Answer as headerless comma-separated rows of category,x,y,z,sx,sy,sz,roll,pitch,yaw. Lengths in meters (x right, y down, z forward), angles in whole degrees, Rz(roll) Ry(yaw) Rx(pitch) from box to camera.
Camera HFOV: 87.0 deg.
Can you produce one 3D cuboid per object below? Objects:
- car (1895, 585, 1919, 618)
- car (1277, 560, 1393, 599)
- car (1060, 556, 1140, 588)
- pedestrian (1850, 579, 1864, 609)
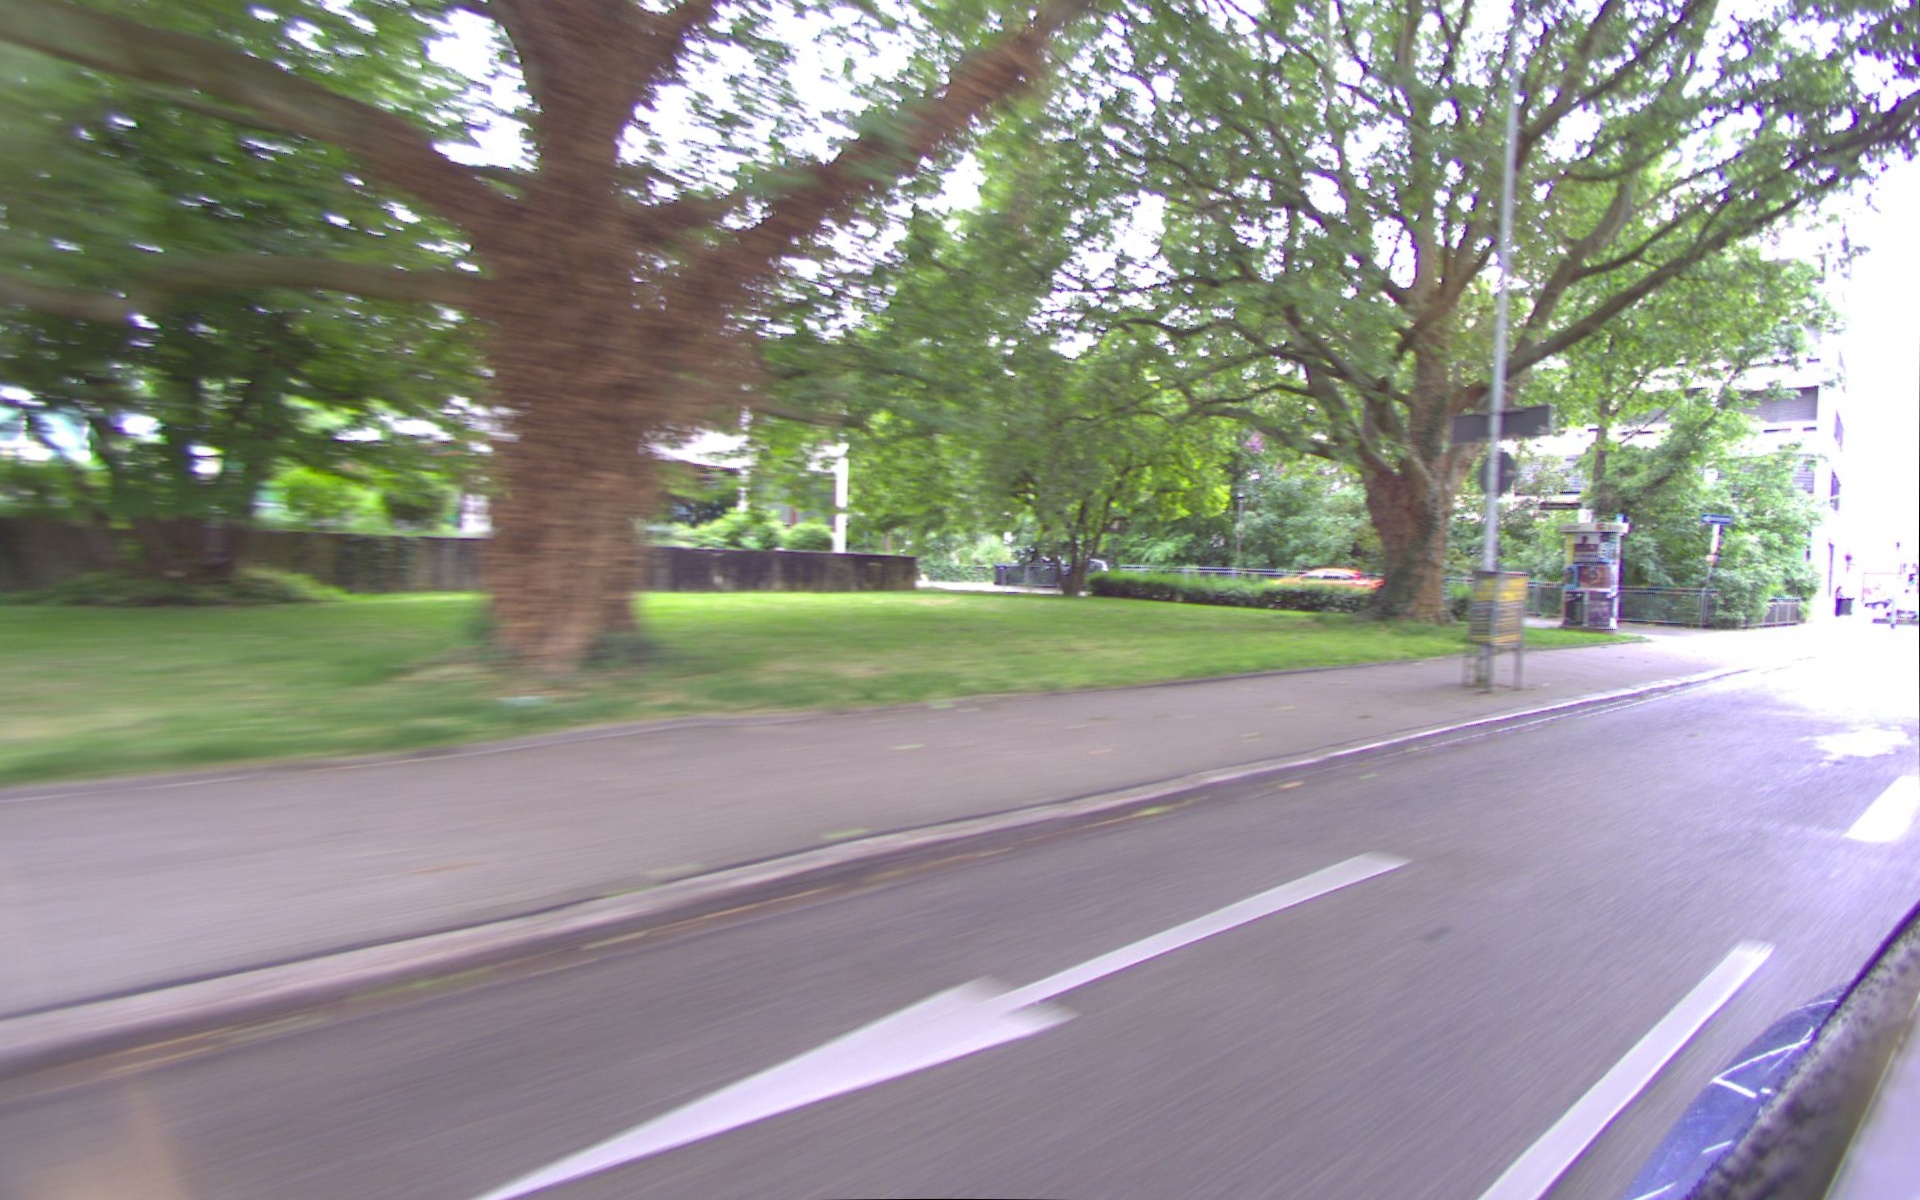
car,46.741,0.100,49.003,3.618,1.449,1.681,0,6,-42
car,14.194,-0.806,38.411,1.551,1.294,3.783,-1,4,-45
car,6.407,-1.319,46.441,3.459,1.294,1.426,5,4,44
pedestrian,45.779,-0.308,51.633,0.473,1.549,0.480,-1,0,-41
